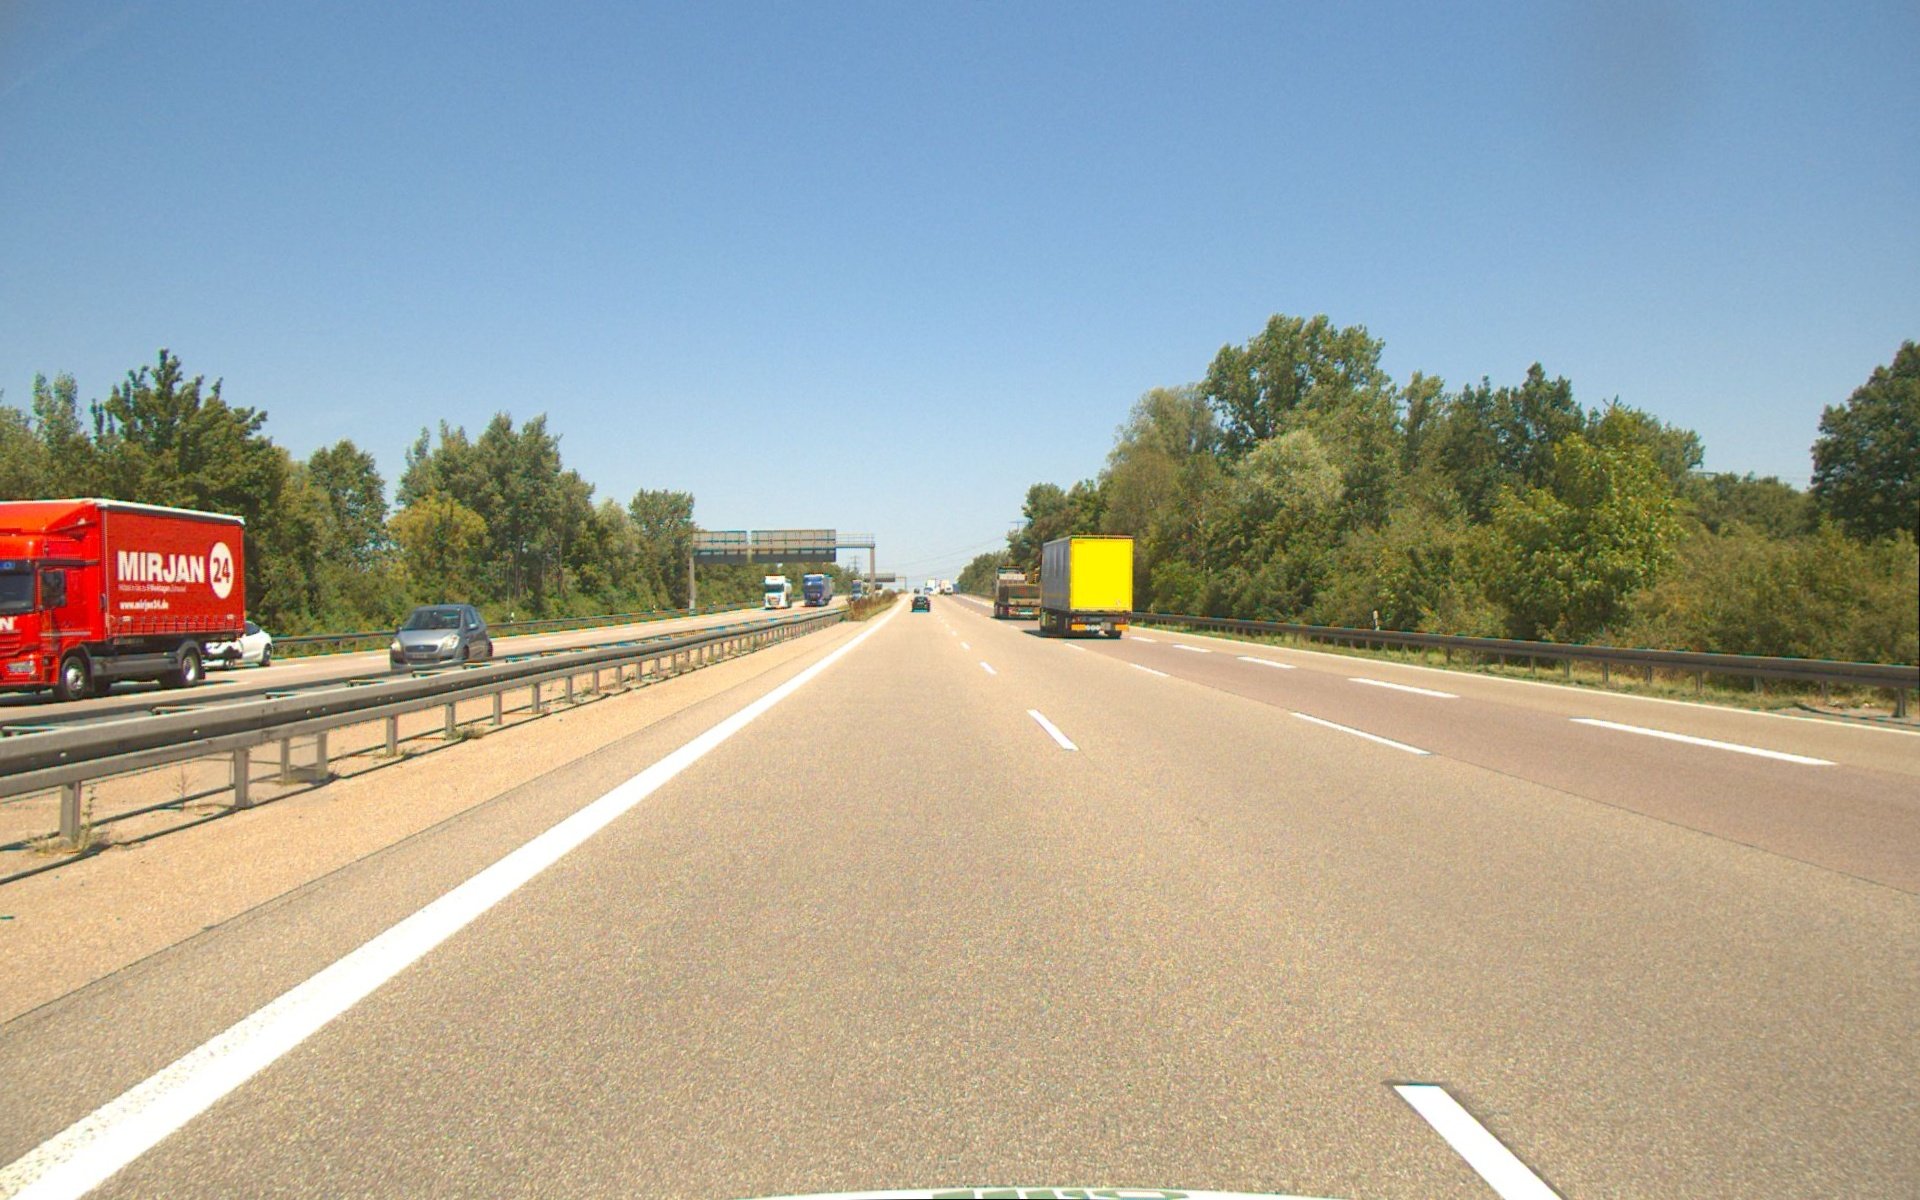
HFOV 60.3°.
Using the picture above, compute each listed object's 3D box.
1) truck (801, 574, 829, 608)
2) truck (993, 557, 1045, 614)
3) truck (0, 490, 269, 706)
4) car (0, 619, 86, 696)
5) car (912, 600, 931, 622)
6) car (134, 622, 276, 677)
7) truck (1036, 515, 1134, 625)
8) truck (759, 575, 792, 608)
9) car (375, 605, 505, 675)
[{"bbox_3d":[-19.686,-1.202,225.354,2.895,4.319,17.175,-1,0,-2],"label":"truck"},{"bbox_3d":[4.306,-0.997,124.409,2.909,4.026,16.609,1,0,-1],"label":"truck"},{"bbox_3d":[-17.855,0.013,34.218,3.002,3.792,9.803,-3,0,-1],"label":"truck"},{"bbox_3d":[-21.641,1.303,36.837,1.952,1.606,4.268,-3,0,1],"label":"car"},{"bbox_3d":[-3.632,1.081,157.334,1.755,2.049,3.886,1,0,-1],"label":"car"},{"bbox_3d":[-22.234,1.423,48.962,1.953,1.437,4.972,-1,0,-1],"label":"car"},{"bbox_3d":[5.341,-1.156,74.105,2.787,4.332,16.787,-1,0,-1],"label":"truck"},{"bbox_3d":[-23.544,-1.066,212.033,2.895,4.088,15.815,-1,0,-2],"label":"truck"},{"bbox_3d":[-12.144,0.894,38.877,1.858,1.532,4.115,-1,0,-2],"label":"car"}]
